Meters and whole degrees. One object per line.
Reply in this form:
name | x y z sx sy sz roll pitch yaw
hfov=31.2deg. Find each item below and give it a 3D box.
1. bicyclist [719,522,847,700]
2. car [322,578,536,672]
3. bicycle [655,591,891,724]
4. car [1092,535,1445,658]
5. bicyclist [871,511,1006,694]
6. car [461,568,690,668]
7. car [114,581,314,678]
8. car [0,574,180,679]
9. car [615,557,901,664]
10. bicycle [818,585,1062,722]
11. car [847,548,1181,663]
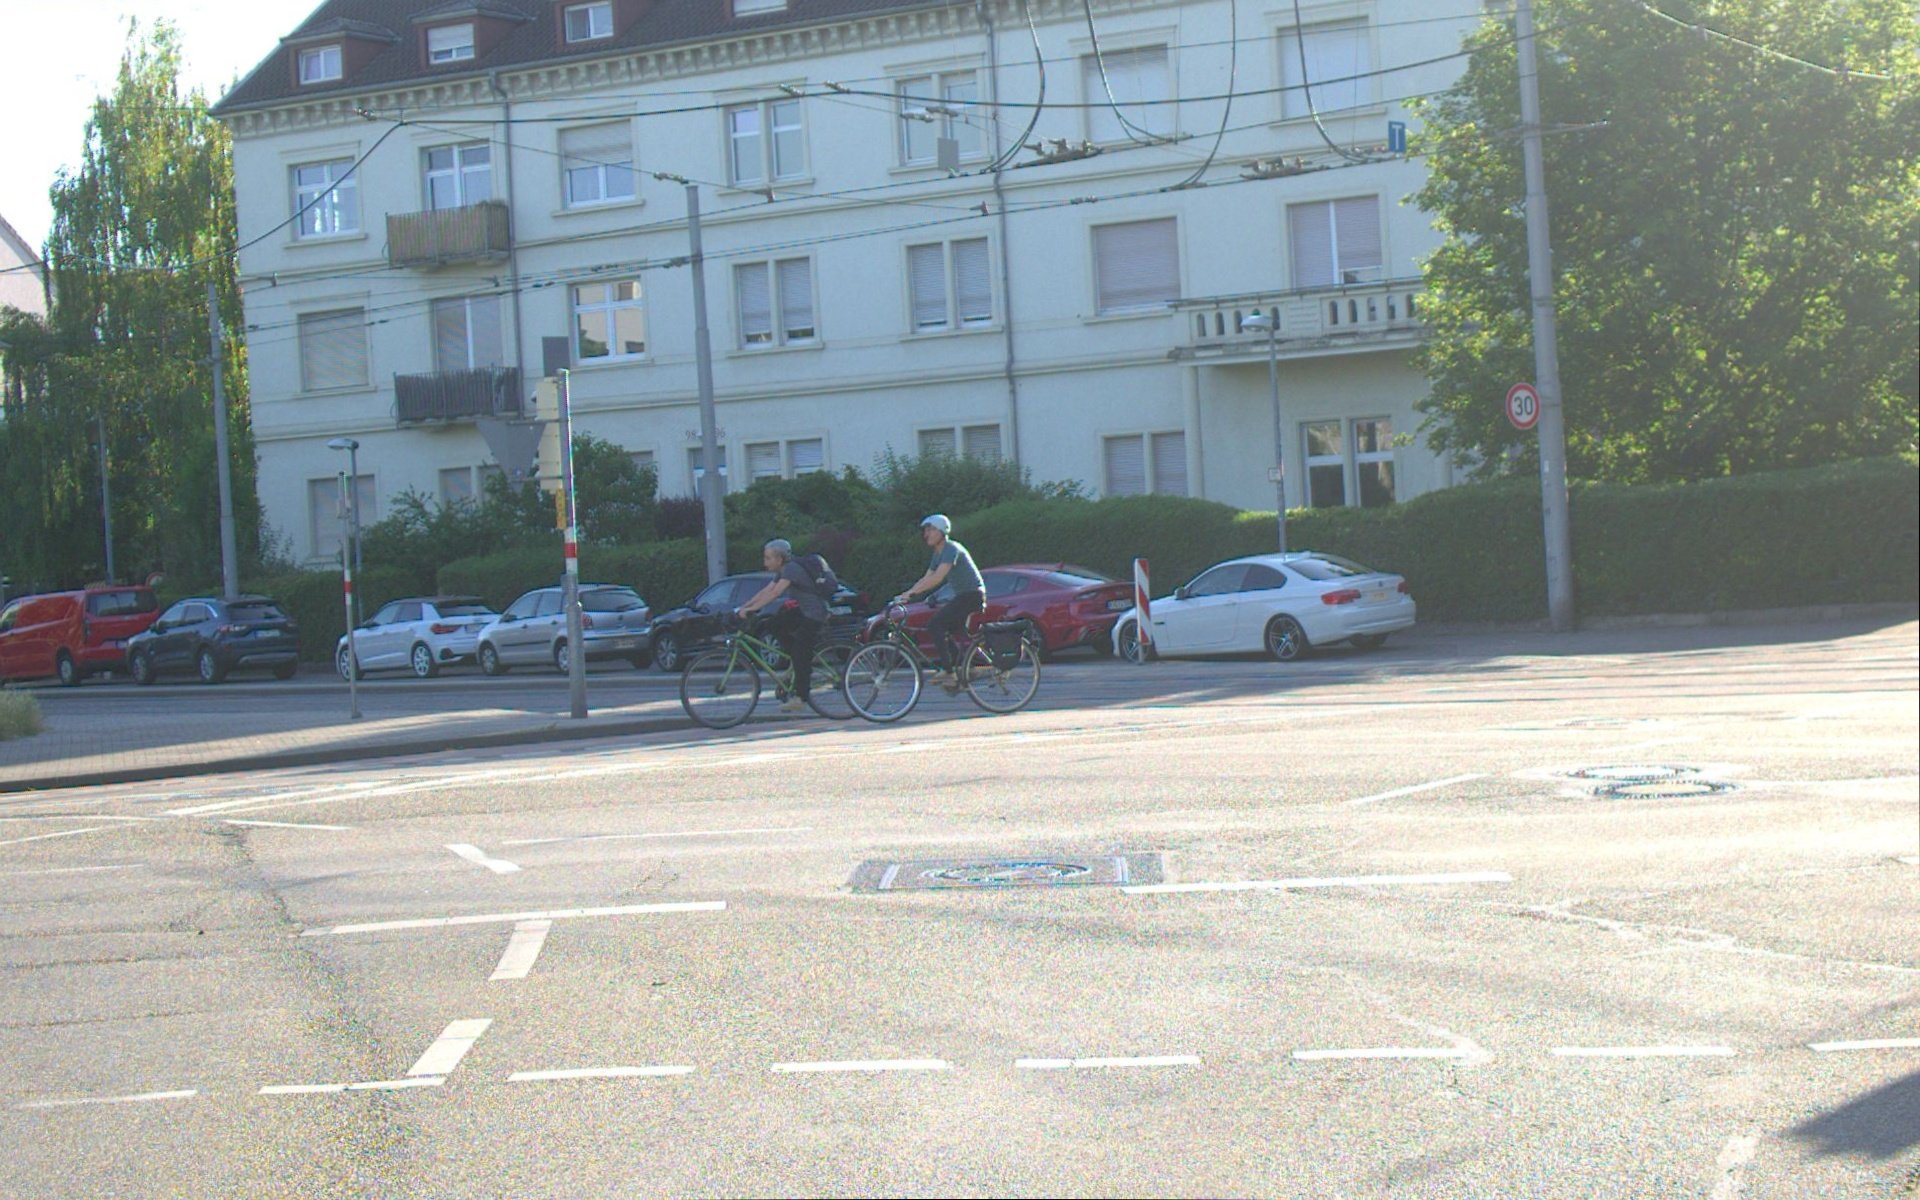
bicyclist | -1.594 0.091 30.871 1.034 1.526 0.661 -3 1 -6
car | -9.511 0.463 61.373 1.840 1.442 3.957 -7 3 -41
bicycle | -1.684 0.508 30.834 2.012 1.065 0.664 -3 1 -7
car | 4.089 -0.027 46.126 1.926 1.371 4.494 -7 3 -42
bicyclist | -0.195 0.016 29.935 1.034 1.526 0.698 -3 1 -6
car | -6.498 0.320 57.879 1.982 1.442 3.717 -7 3 -41
car | -14.614 0.595 67.210 1.840 1.662 4.368 -7 3 -41
car | -18.650 0.576 72.251 2.051 1.955 5.148 -7 3 -41
car | -3.263 0.187 54.632 1.982 1.442 4.703 -7 3 -41
bicycle | -0.182 0.456 29.948 2.012 1.065 0.664 -3 1 -6
car | 0.749 0.100 50.123 4.702 1.371 1.982 -2 3 44
